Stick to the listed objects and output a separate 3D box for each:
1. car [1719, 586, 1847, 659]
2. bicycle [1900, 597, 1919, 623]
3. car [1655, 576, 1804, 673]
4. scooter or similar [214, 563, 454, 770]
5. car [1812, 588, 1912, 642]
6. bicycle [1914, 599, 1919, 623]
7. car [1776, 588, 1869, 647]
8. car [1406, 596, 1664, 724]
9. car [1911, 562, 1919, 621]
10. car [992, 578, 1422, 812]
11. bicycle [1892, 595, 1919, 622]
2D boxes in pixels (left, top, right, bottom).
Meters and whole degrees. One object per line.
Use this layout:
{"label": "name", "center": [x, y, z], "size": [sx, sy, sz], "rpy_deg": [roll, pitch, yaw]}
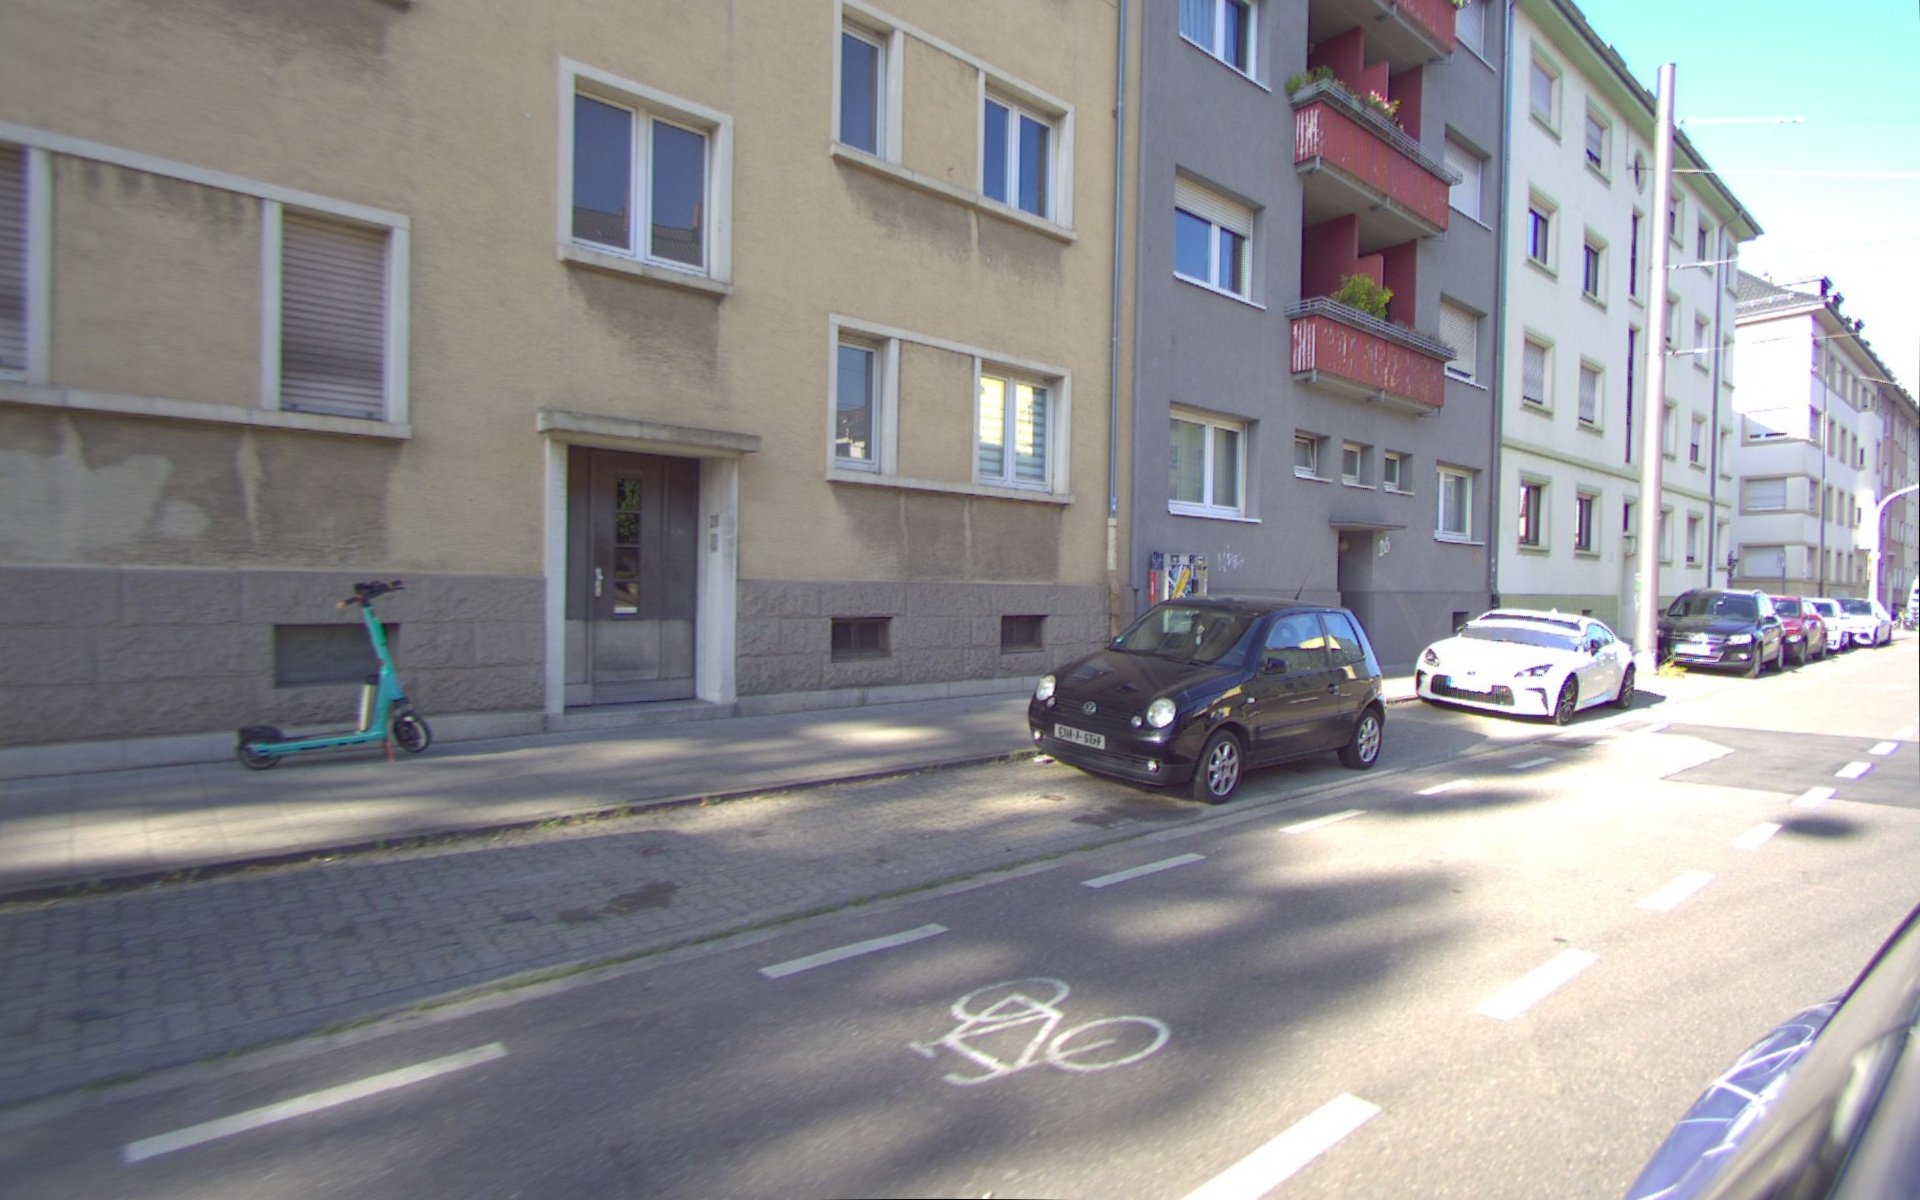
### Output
{"label": "car", "center": [19.580, 0.472, 24.027], "size": [4.115, 1.536, 1.639], "rpy_deg": [0, 2, -41]}
{"label": "bicycle", "center": [42.824, 0.450, 44.923], "size": [0.465, 1.100, 1.918], "rpy_deg": [-2, 2, 2]}
{"label": "car", "center": [15.556, 0.420, 20.371], "size": [4.301, 1.667, 1.638], "rpy_deg": [-1, 4, -44]}
{"label": "scooter or similar", "center": [-4.205, 0.403, 6.843], "size": [1.315, 1.253, 0.460], "rpy_deg": [0, 5, -41]}
{"label": "car", "center": [27.580, 0.405, 30.895], "size": [4.302, 1.476, 1.697], "rpy_deg": [0, 2, -41]}
{"label": "bicycle", "center": [43.705, 0.500, 45.167], "size": [0.478, 1.101, 2.024], "rpy_deg": [-1, -1, 6]}
{"label": "car", "center": [24.028, 0.435, 28.141], "size": [1.637, 1.476, 4.016], "rpy_deg": [3, 2, 45]}
{"label": "car", "center": [7.809, 0.678, 13.585], "size": [4.230, 1.290, 1.706], "rpy_deg": [-1, 5, -42]}
{"label": "car", "center": [47.346, -0.350, 48.317], "size": [6.183, 2.729, 2.155], "rpy_deg": [0, 3, -42]}
{"label": "car", "center": [2.211, 0.609, 8.558], "size": [3.723, 1.471, 1.639], "rpy_deg": [0, 4, -41]}
{"label": "bicycle", "center": [41.963, 0.387, 44.316], "size": [0.465, 1.100, 1.918], "rpy_deg": [3, 3, 2]}
